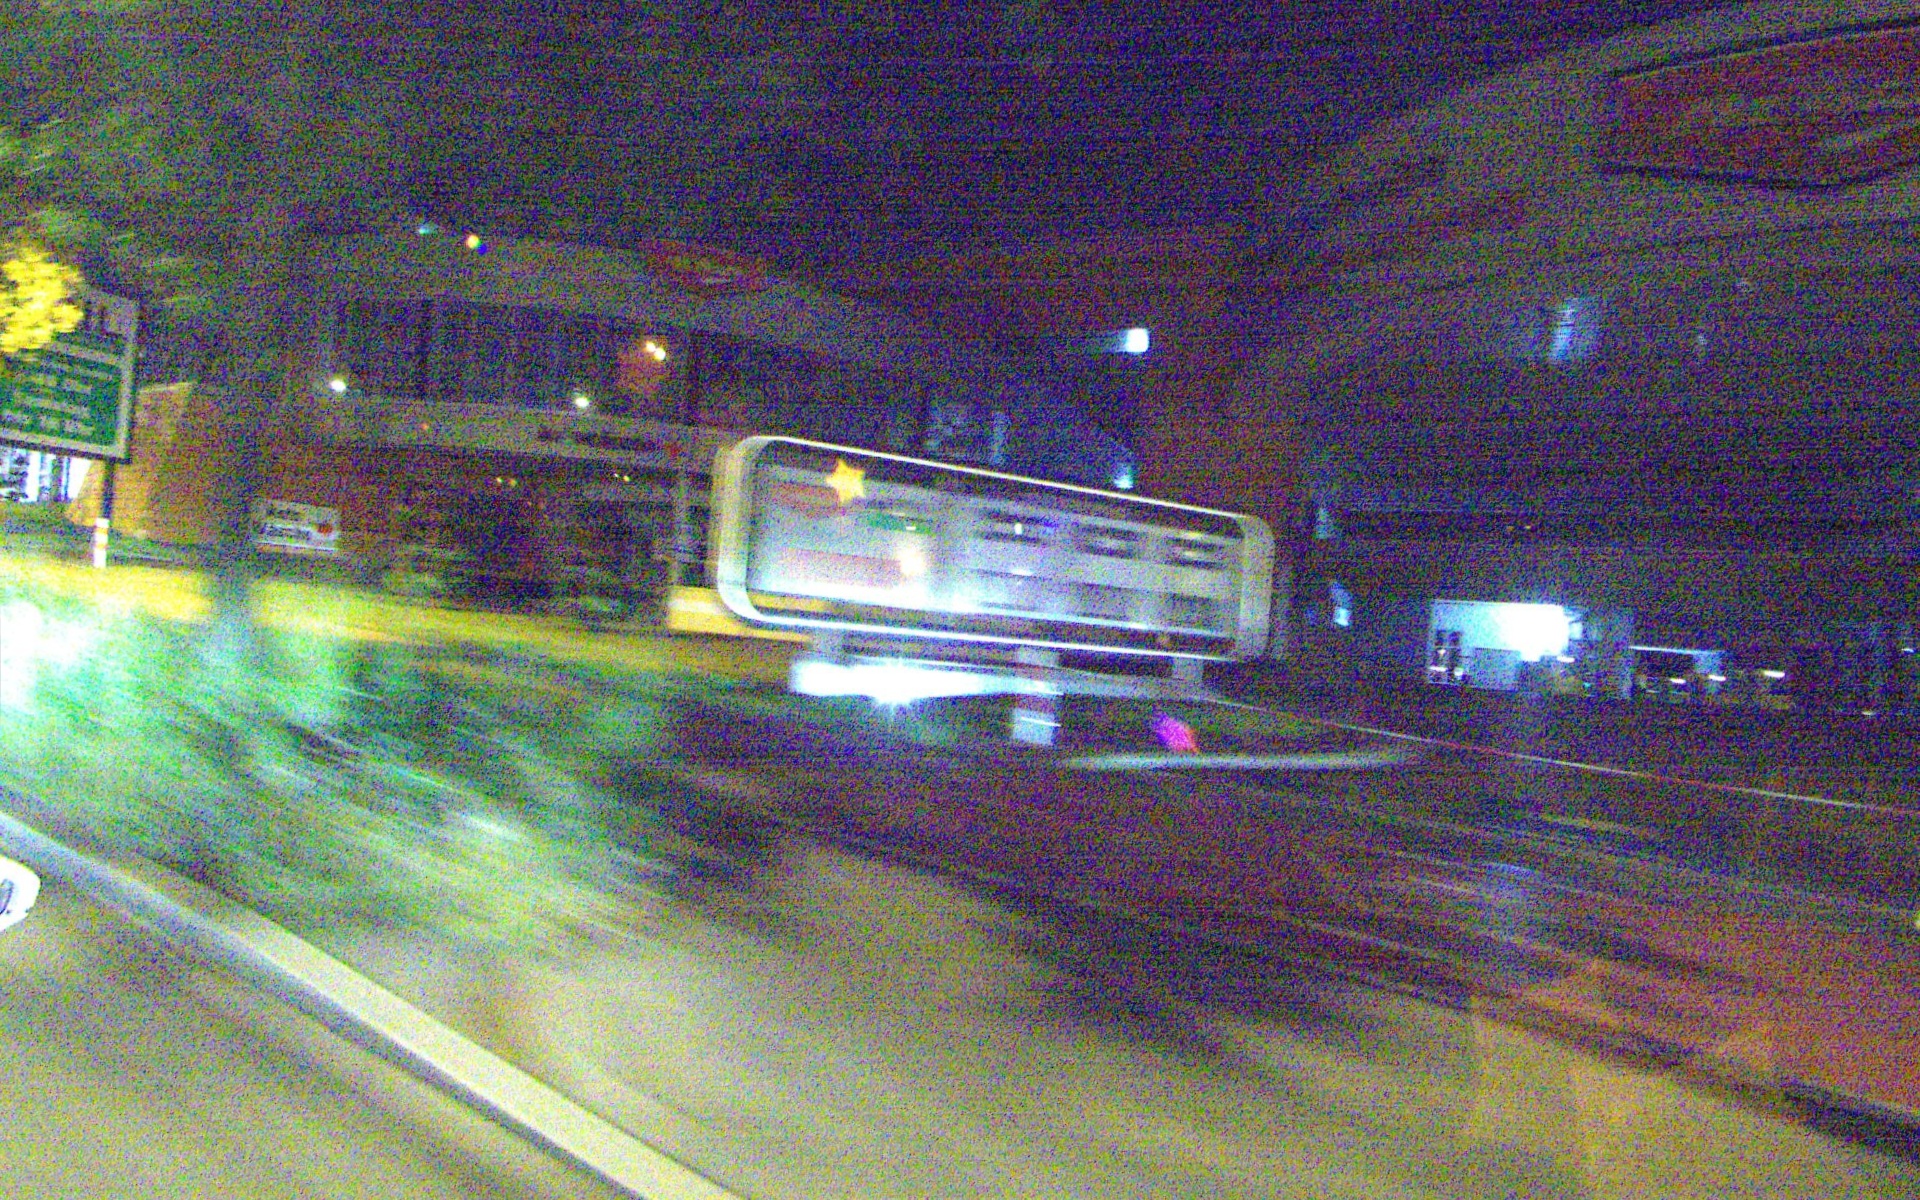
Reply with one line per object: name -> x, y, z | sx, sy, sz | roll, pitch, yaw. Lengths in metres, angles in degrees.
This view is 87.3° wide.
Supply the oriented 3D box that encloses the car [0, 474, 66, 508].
car -> -52.332, -6.111, 56.008 | 3.891, 1.600, 1.797 | 6, 4, 10
